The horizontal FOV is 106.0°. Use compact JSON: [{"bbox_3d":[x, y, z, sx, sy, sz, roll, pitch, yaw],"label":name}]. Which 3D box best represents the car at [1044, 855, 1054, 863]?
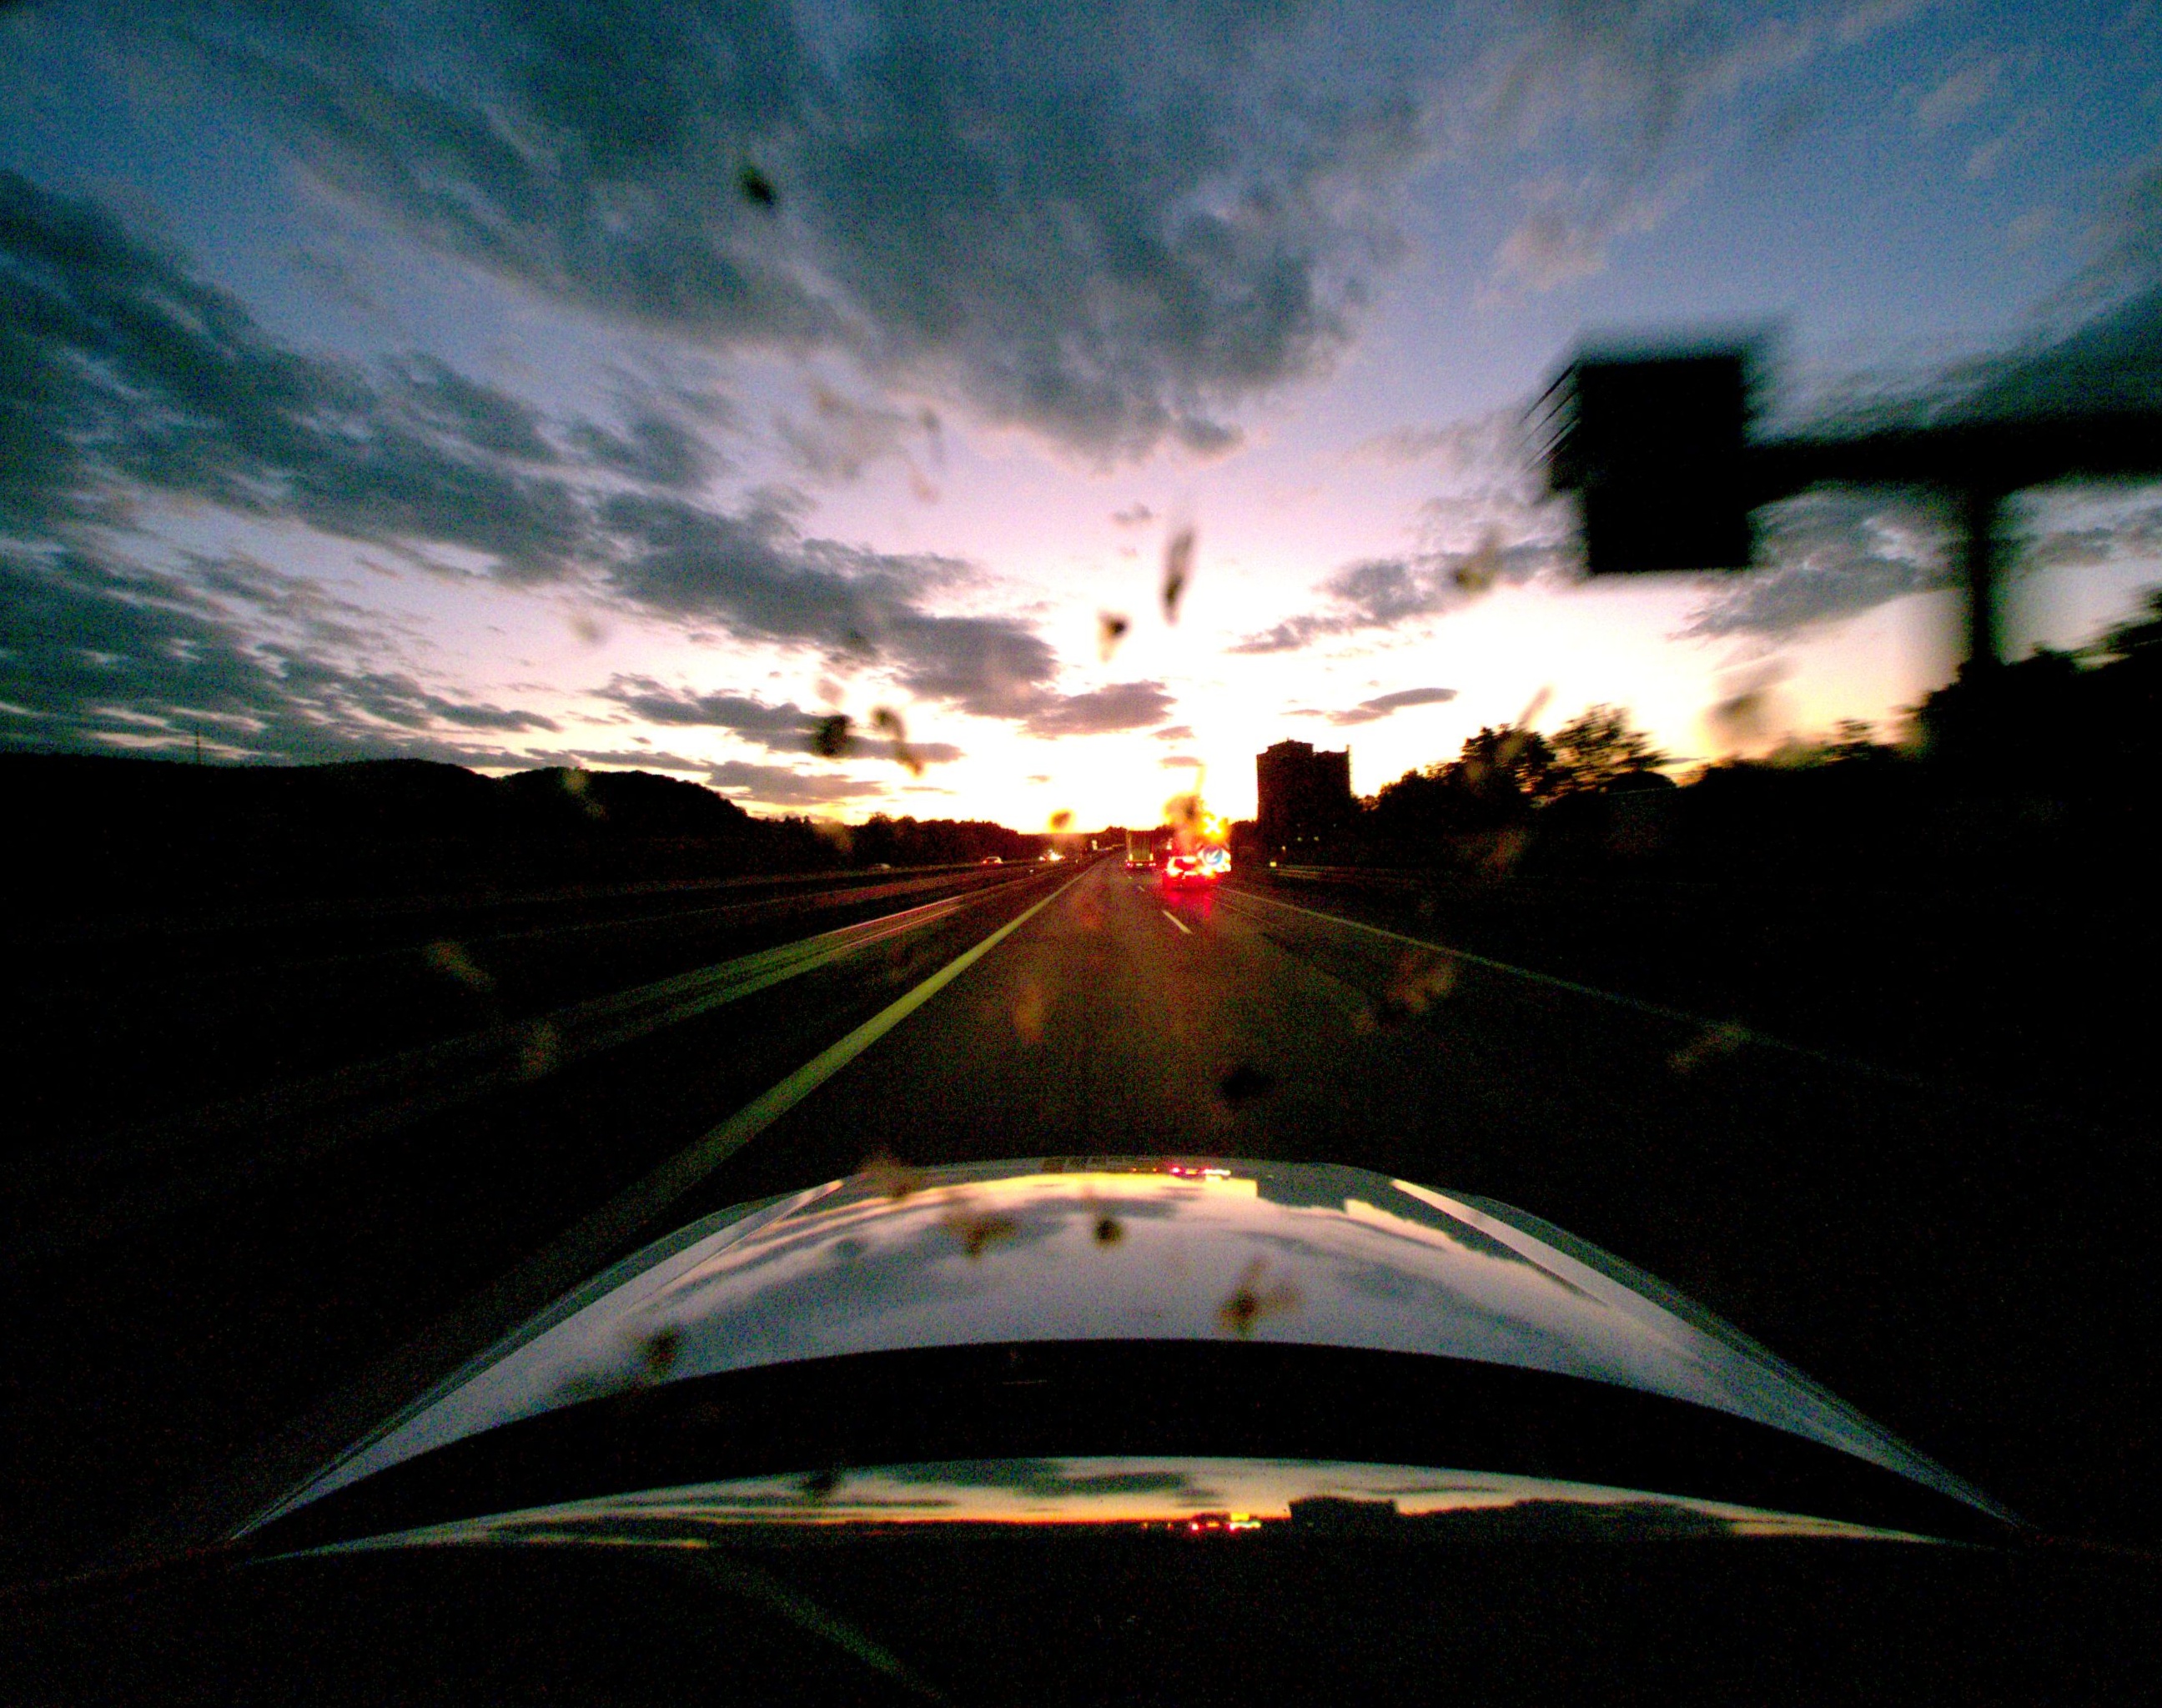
[{"bbox_3d":[-6.402,0.986,163.555,1.706,1.605,3.724,-3,0,2],"label":"car"}]

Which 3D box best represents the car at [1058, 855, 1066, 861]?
[{"bbox_3d":[-4.840,1.032,204.160,1.631,1.546,3.397,-3,0,2],"label":"car"}]

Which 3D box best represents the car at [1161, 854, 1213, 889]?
[{"bbox_3d":[4.598,0.744,35.833,1.907,1.442,4.003,-1,0,3],"label":"car"}]

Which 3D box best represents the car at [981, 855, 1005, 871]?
[{"bbox_3d":[-9.738,0.990,90.423,1.865,1.561,4.521,-3,0,2],"label":"car"}]

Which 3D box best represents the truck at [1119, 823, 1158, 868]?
[{"bbox_3d":[6.003,-0.865,86.103,3.497,4.301,9.894,-3,0,2],"label":"truck"}]

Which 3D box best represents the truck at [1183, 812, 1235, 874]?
[{"bbox_3d":[8.964,-0.757,57.583,2.777,4.058,6.414,-1,0,2],"label":"truck"}]

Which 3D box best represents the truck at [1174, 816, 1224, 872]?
[{"bbox_3d":[9.333,-0.773,65.353,2.902,4.111,9.153,-1,0,2],"label":"truck"}]
